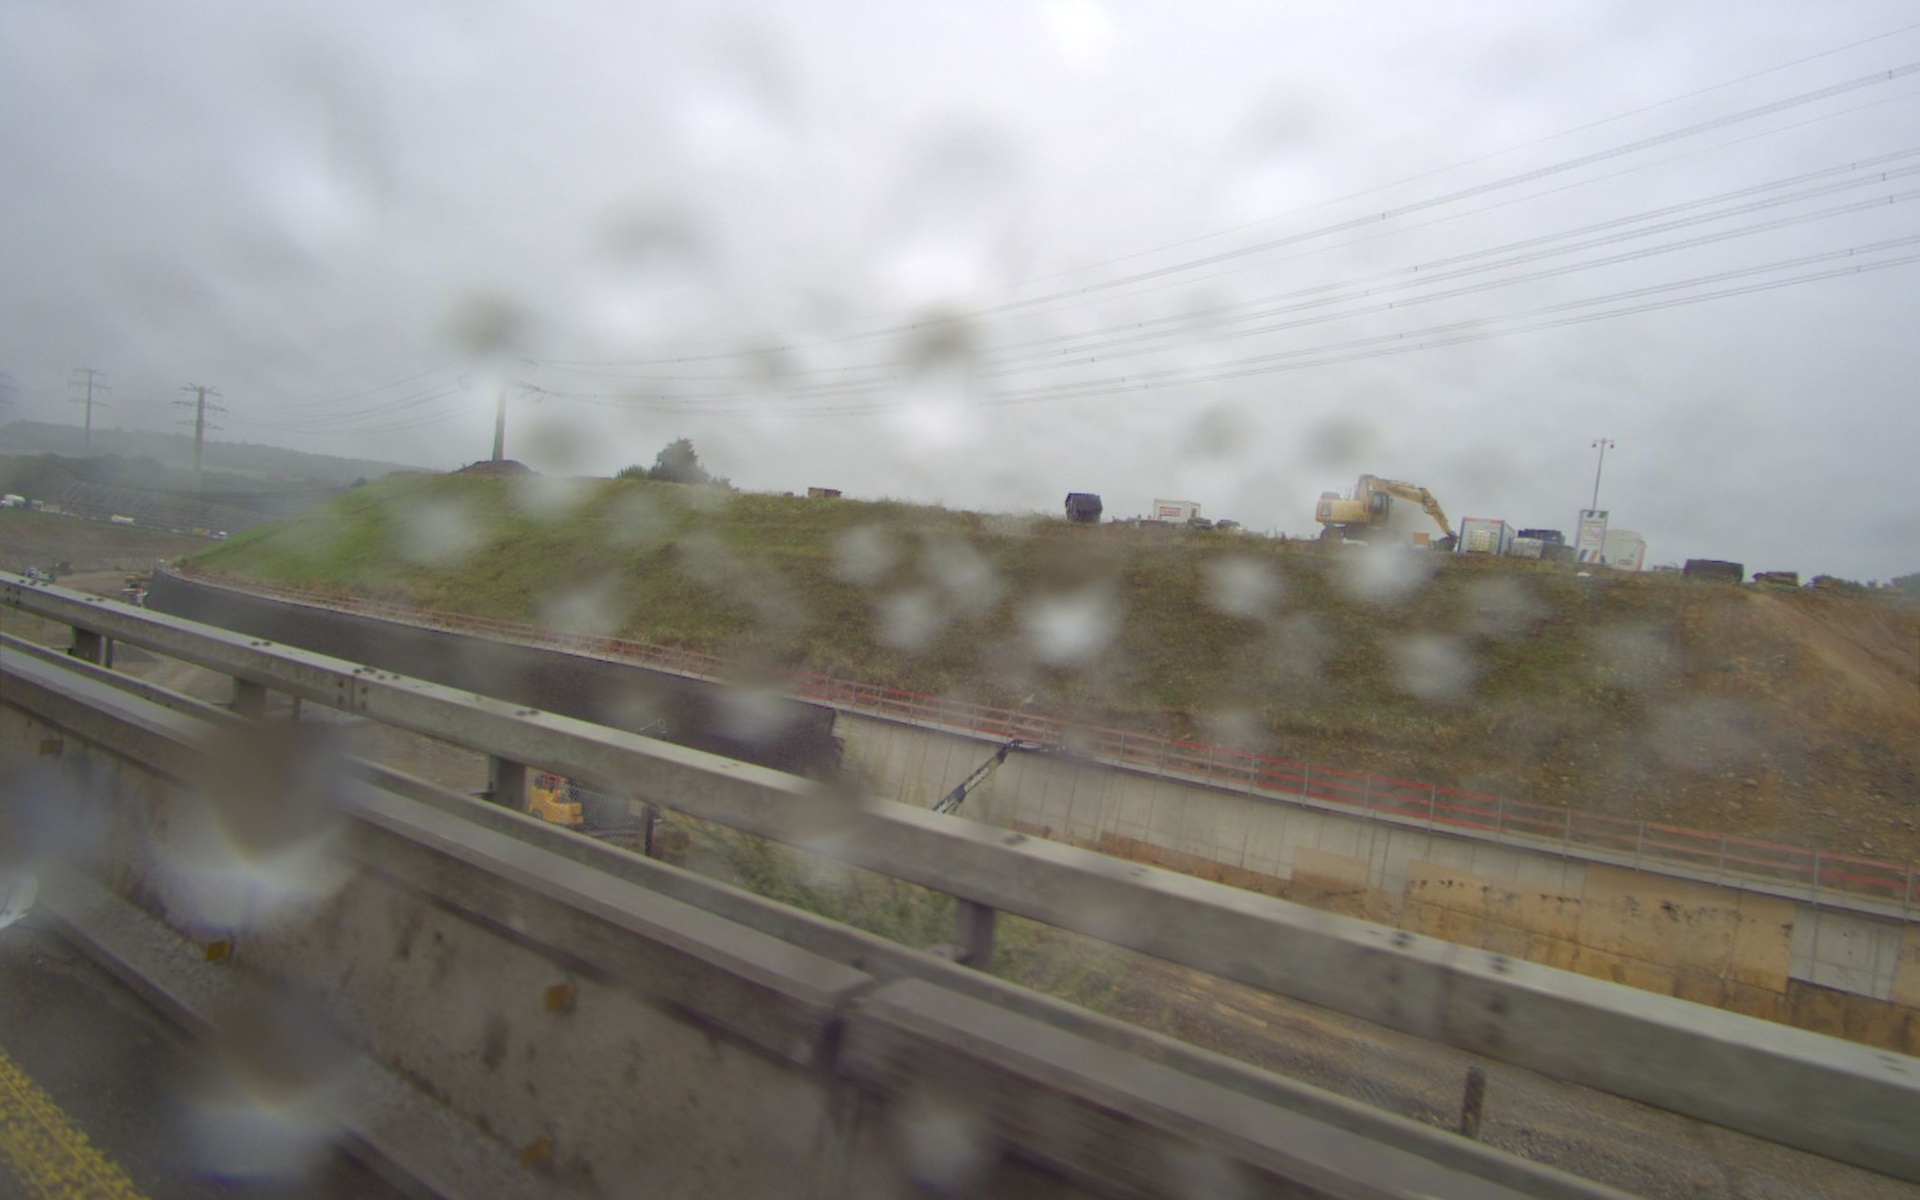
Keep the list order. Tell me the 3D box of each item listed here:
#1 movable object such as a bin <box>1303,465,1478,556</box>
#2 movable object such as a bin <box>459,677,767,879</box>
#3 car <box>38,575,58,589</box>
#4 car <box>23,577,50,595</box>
[{"bbox_3d":[23.757,-5.000,55.783,8.051,4.260,3.098,7,1,36],"label":"movable object such as a bin"},{"bbox_3d":[-13.843,6.563,39.532,11.904,5.732,4.900,4,-4,35],"label":"movable object such as a bin"},{"bbox_3d":[-146.147,-2.853,161.161,3.947,1.837,1.990,6,-1,43],"label":"car"},{"bbox_3d":[-136.196,-2.026,148.340,3.944,2.037,2.363,6,-2,41],"label":"car"}]
